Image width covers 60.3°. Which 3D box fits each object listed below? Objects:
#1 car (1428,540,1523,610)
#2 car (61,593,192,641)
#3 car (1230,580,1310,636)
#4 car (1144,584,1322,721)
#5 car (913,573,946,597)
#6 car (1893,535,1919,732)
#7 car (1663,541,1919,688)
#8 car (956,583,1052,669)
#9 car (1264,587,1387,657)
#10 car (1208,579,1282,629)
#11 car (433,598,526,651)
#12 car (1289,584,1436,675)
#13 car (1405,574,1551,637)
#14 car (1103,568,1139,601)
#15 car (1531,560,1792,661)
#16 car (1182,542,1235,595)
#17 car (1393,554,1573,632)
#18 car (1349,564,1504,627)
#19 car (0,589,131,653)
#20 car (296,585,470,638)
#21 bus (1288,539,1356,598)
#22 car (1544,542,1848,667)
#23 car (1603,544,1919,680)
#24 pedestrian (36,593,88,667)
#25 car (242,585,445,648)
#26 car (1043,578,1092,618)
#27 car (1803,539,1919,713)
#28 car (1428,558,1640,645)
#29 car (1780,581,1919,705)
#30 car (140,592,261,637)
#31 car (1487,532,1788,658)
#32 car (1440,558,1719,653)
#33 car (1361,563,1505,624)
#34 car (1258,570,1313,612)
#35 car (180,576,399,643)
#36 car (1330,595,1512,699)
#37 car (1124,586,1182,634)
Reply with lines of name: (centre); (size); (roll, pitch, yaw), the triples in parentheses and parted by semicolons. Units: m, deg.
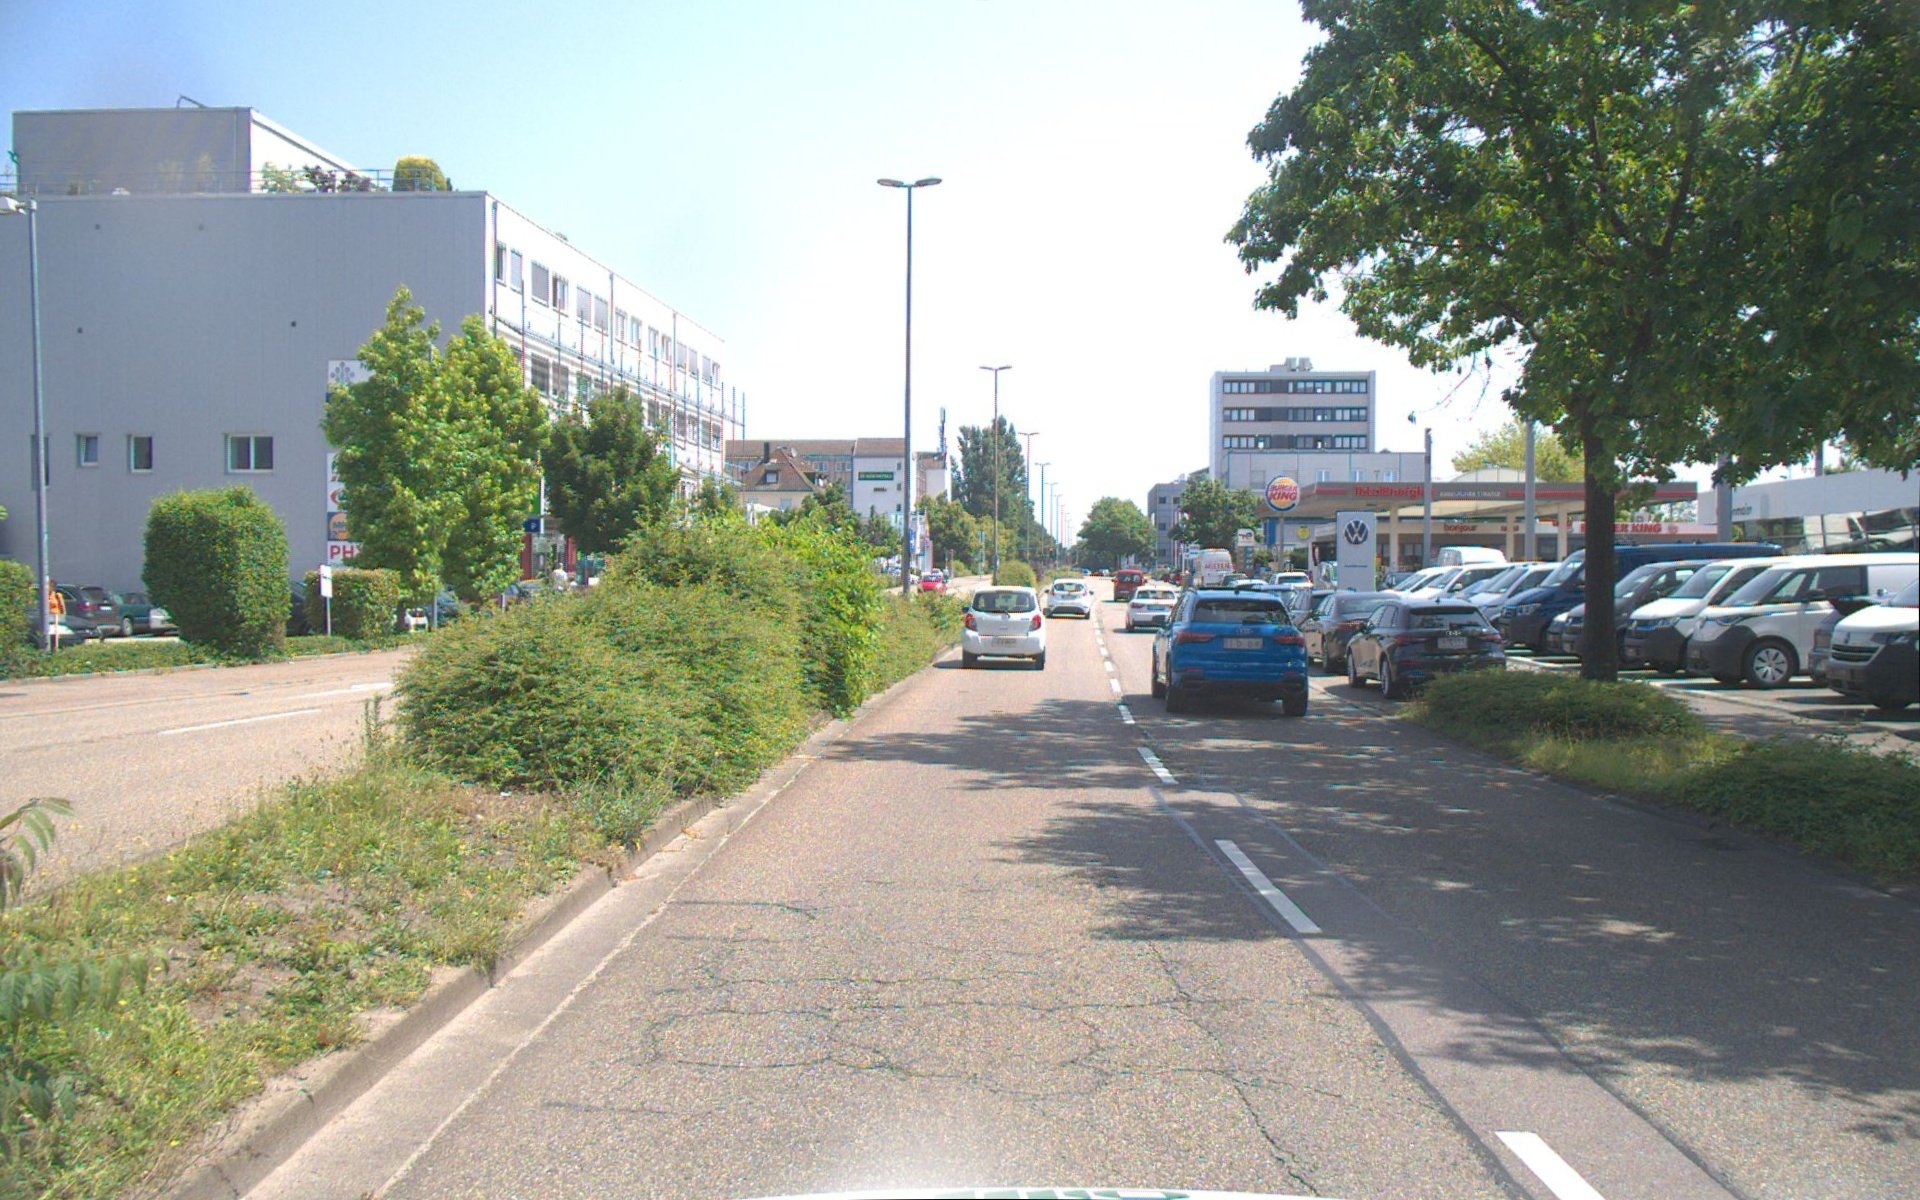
car: (21.158, -1.054, 68.186); (2.208, 2.722, 7.022); (-1, 1, 4)
car: (-27.822, 0.538, 55.354); (1.692, 1.476, 4.004); (0, 1, 14)
car: (9.292, 0.211, 49.871); (1.678, 1.575, 4.792); (-1, 0, 2)
car: (3.603, 0.629, 22.580); (1.873, 1.625, 4.397); (1, 1, 3)
car: (-1.882, -0.925, 102.350); (1.596, 1.449, 3.453); (-2, 0, 5)
car: (12.866, 0.370, 17.435); (4.845, 2.150, 2.160); (0, 1, 3)
car: (13.635, 0.195, 25.753); (4.414, 2.049, 2.199); (-3, -1, 5)
car: (0.814, 0.507, 32.255); (1.677, 1.537, 3.246); (1, -1, -1)
car: (8.427, 0.457, 38.550); (1.816, 1.507, 5.157); (0, 1, 1)
car: (9.472, 0.101, 55.250); (1.697, 1.579, 4.180); (1, 1, -1)
car: (-15.357, 0.749, 53.016); (1.624, 1.493, 3.800); (-2, 1, 3)
car: (7.811, 0.513, 32.571); (1.920, 1.556, 5.164); (-2, 1, 4)
car: (13.961, 0.123, 44.751); (3.553, 1.598, 1.718); (1, 1, 10)
car: (9.013, -0.840, 93.075); (1.757, 1.759, 3.974); (1, 0, 2)
car: (14.202, 0.187, 33.686); (4.472, 1.883, 1.953); (-1, 1, 3)
car: (15.000, -1.905, 100.276); (2.089, 2.888, 7.311); (-5, 1, 2)
car: (14.926, -0.218, 47.372); (4.543, 2.048, 1.961); (-2, 1, 2)
car: (14.880, -0.125, 52.963); (4.460, 1.921, 1.858); (-1, -1, 3)
car: (-25.729, 0.602, 46.332); (3.906, 1.652, 2.000); (-3, 0, -1)
car: (-14.847, 0.281, 42.675); (3.758, 1.252, 1.861); (-1, 1, 3)
bus: (20.589, -1.884, 94.615); (2.745, 3.132, 12.297); (1, 2, 8)
car: (13.806, 0.059, 31.272); (4.797, 2.151, 2.130); (-1, 1, 3)
car: (14.086, 0.183, 28.800); (4.958, 2.133, 2.041); (-2, 0, 3)
pedestrian: (-19.957, 0.657, 36.757); (0.628, 1.612, 0.826); (1, -1, 3)
car: (-14.929, 0.383, 40.180); (4.135, 1.372, 1.981); (-1, 1, 3)
car: (4.129, -0.069, 63.812); (1.792, 1.475, 4.001); (1, 0, 3)
car: (13.224, 0.254, 20.121); (4.809, 2.005, 2.143); (-1, 0, 4)
car: (14.531, 0.000, 42.094); (4.686, 2.018, 2.005); (1, 3, 4)
car: (13.716, 0.500, 22.696); (3.943, 1.496, 1.913); (-3, 2, -3)
car: (-25.376, 0.492, 55.397); (1.951, 1.396, 4.002); (1, -1, 4)
car: (14.763, -0.100, 36.345); (5.719, 2.568, 2.206); (1, -1, 6)
car: (14.570, 0.122, 39.204); (5.769, 2.049, 2.261); (1, 0, 6)
car: (15.027, -0.191, 52.705); (4.063, 1.812, 1.882); (-1, -1, 3)
car: (13.445, -0.416, 68.519); (1.632, 1.623, 4.616); (-1, 1, 4)
car: (-15.087, 0.190, 37.366); (4.062, 1.365, 2.043); (-1, 1, 2)
car: (7.098, 0.666, 25.905); (1.647, 1.460, 4.440); (-1, 0, 1)
car: (6.054, 0.312, 52.121); (1.632, 1.424, 3.795); (1, 0, 4)
